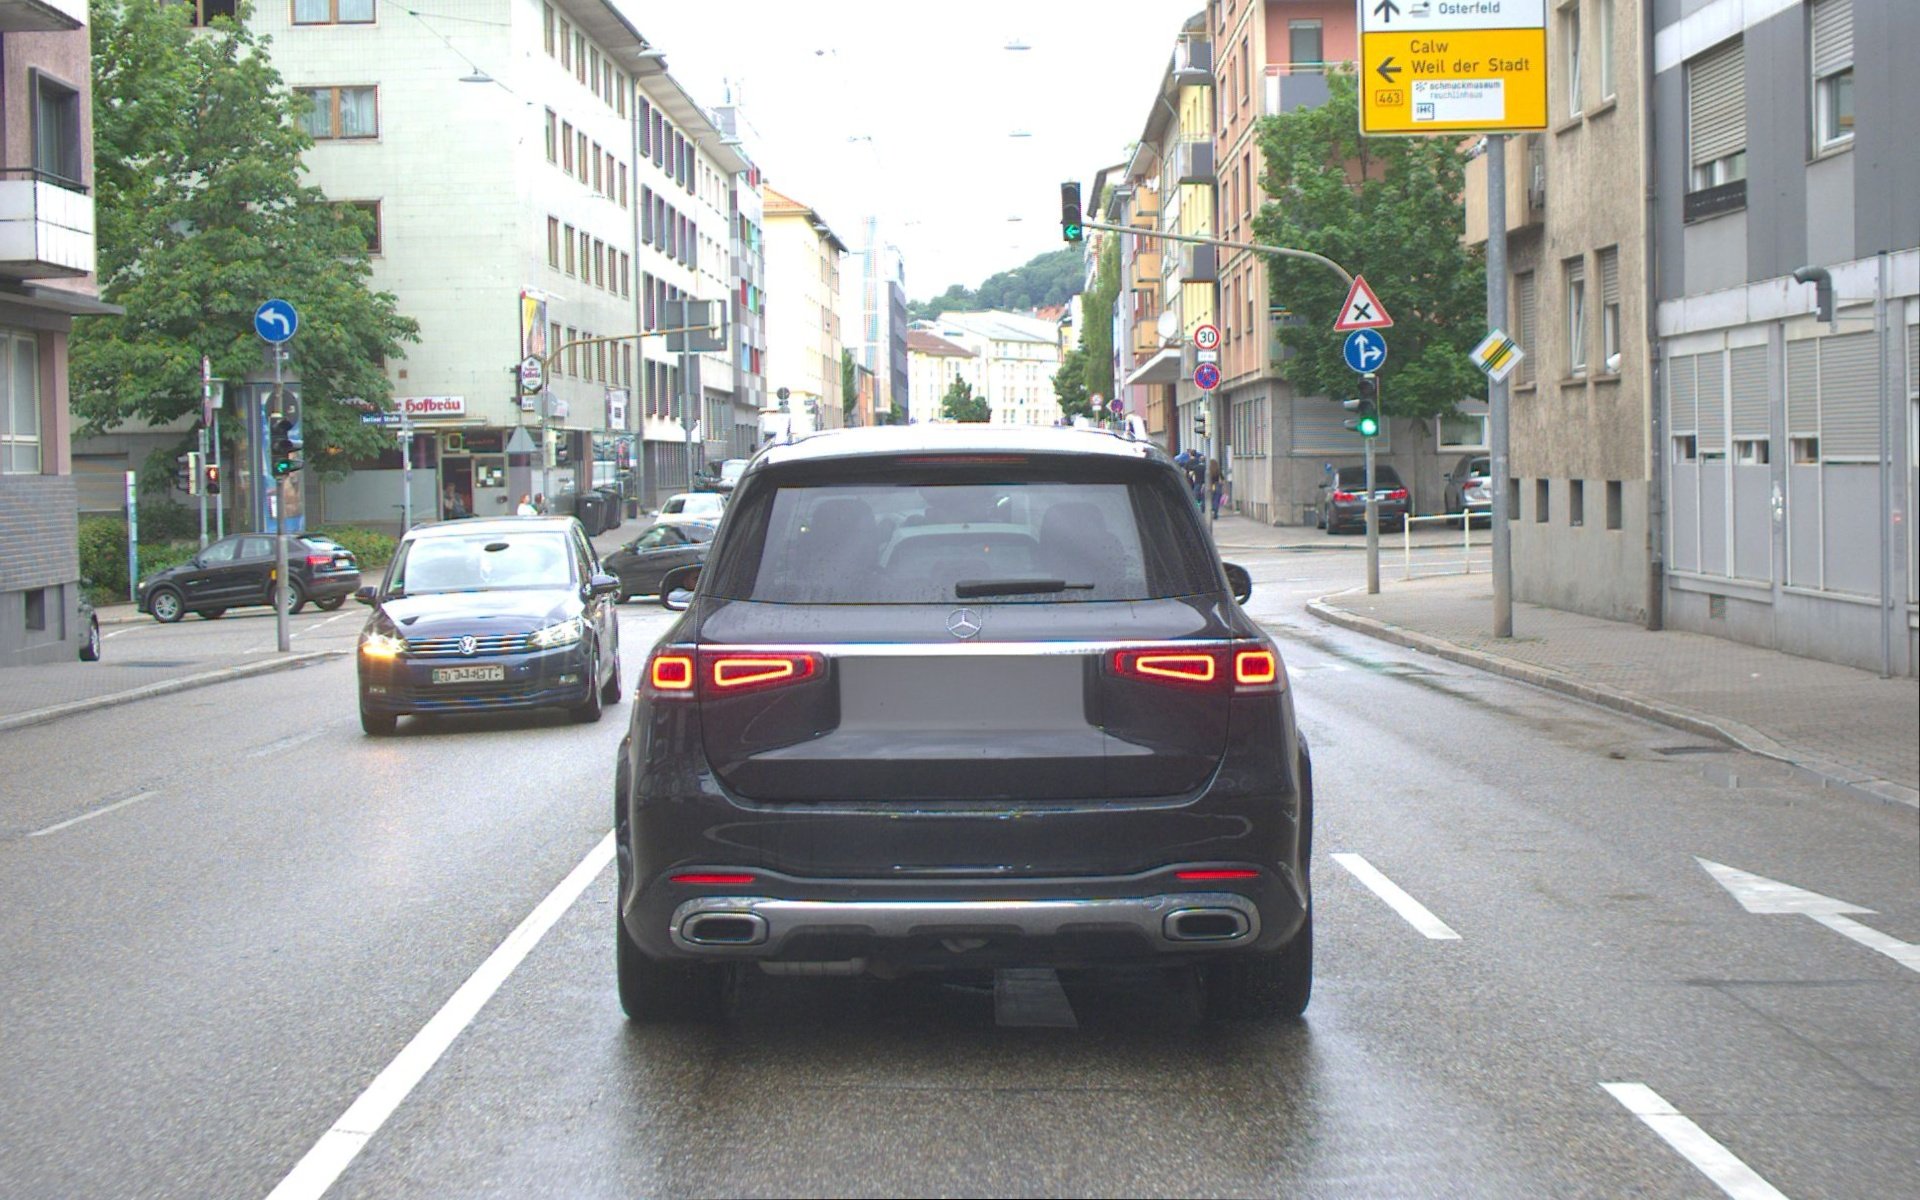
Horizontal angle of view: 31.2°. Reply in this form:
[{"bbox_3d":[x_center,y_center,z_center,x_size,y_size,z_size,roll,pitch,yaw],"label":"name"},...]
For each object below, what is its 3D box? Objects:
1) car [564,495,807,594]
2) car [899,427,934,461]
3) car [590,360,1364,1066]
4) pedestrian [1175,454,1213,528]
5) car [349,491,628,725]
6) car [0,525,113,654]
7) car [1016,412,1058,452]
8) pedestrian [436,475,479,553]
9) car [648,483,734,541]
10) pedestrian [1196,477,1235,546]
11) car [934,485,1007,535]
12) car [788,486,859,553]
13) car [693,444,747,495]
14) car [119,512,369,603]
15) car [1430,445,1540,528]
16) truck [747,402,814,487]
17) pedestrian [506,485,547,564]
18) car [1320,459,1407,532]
[{"bbox_3d":[-4.760,-0.938,59.245,1.773,1.534,4.356,-3,1,-43],"label":"car"},{"bbox_3d":[-2.215,-7.858,173.768,1.618,1.534,4.218,-2,1,-2],"label":"car"},{"bbox_3d":[0.036,0.272,11.260,1.985,1.799,4.390,2,1,0],"label":"car"},{"bbox_3d":[6.449,-3.004,94.760,0.923,2.007,0.706,-1,1,-2],"label":"pedestrian"},{"bbox_3d":[-3.685,-0.011,27.554,1.772,1.640,4.412,-2,2,-3],"label":"car"},{"bbox_3d":[-13.125,-0.168,47.105,1.993,1.667,4.259,-1,1,-1],"label":"car"},{"bbox_3d":[3.780,-8.229,168.413,1.723,1.754,4.218,-2,1,-2],"label":"car"},{"bbox_3d":[-12.428,-2.130,85.017,0.923,1.895,0.706,-1,1,-2],"label":"pedestrian"},{"bbox_3d":[-6.534,-2.128,83.775,1.885,1.260,4.218,-2,1,-2],"label":"car"},{"bbox_3d":[6.707,-2.327,90.401,0.923,1.798,0.706,-1,1,-2],"label":"pedestrian"},{"bbox_3d":[0.281,-2.611,99.546,1.993,1.347,4.000,-2,1,-1],"label":"car"},{"bbox_3d":[-3.343,-1.953,84.188,1.618,1.534,4.218,-2,1,-2],"label":"car"},{"bbox_3d":[-7.998,-4.338,114.593,1.618,1.534,4.218,-2,1,-2],"label":"car"},{"bbox_3d":[-13.612,-0.810,65.327,4.349,1.534,1.776,-2,1,22],"label":"car"},{"bbox_3d":[11.799,-2.551,77.438,1.823,1.788,3.832,-1,1,-1],"label":"car"},{"bbox_3d":[-7.260,-6.272,139.992,2.479,3.035,9.921,-2,1,-2],"label":"truck"},{"bbox_3d":[-9.766,-1.707,77.466,0.636,1.758,0.772,-1,1,17],"label":"pedestrian"},{"bbox_3d":[9.073,-2.348,77.485,1.671,1.583,3.330,-1,1,2],"label":"car"}]
